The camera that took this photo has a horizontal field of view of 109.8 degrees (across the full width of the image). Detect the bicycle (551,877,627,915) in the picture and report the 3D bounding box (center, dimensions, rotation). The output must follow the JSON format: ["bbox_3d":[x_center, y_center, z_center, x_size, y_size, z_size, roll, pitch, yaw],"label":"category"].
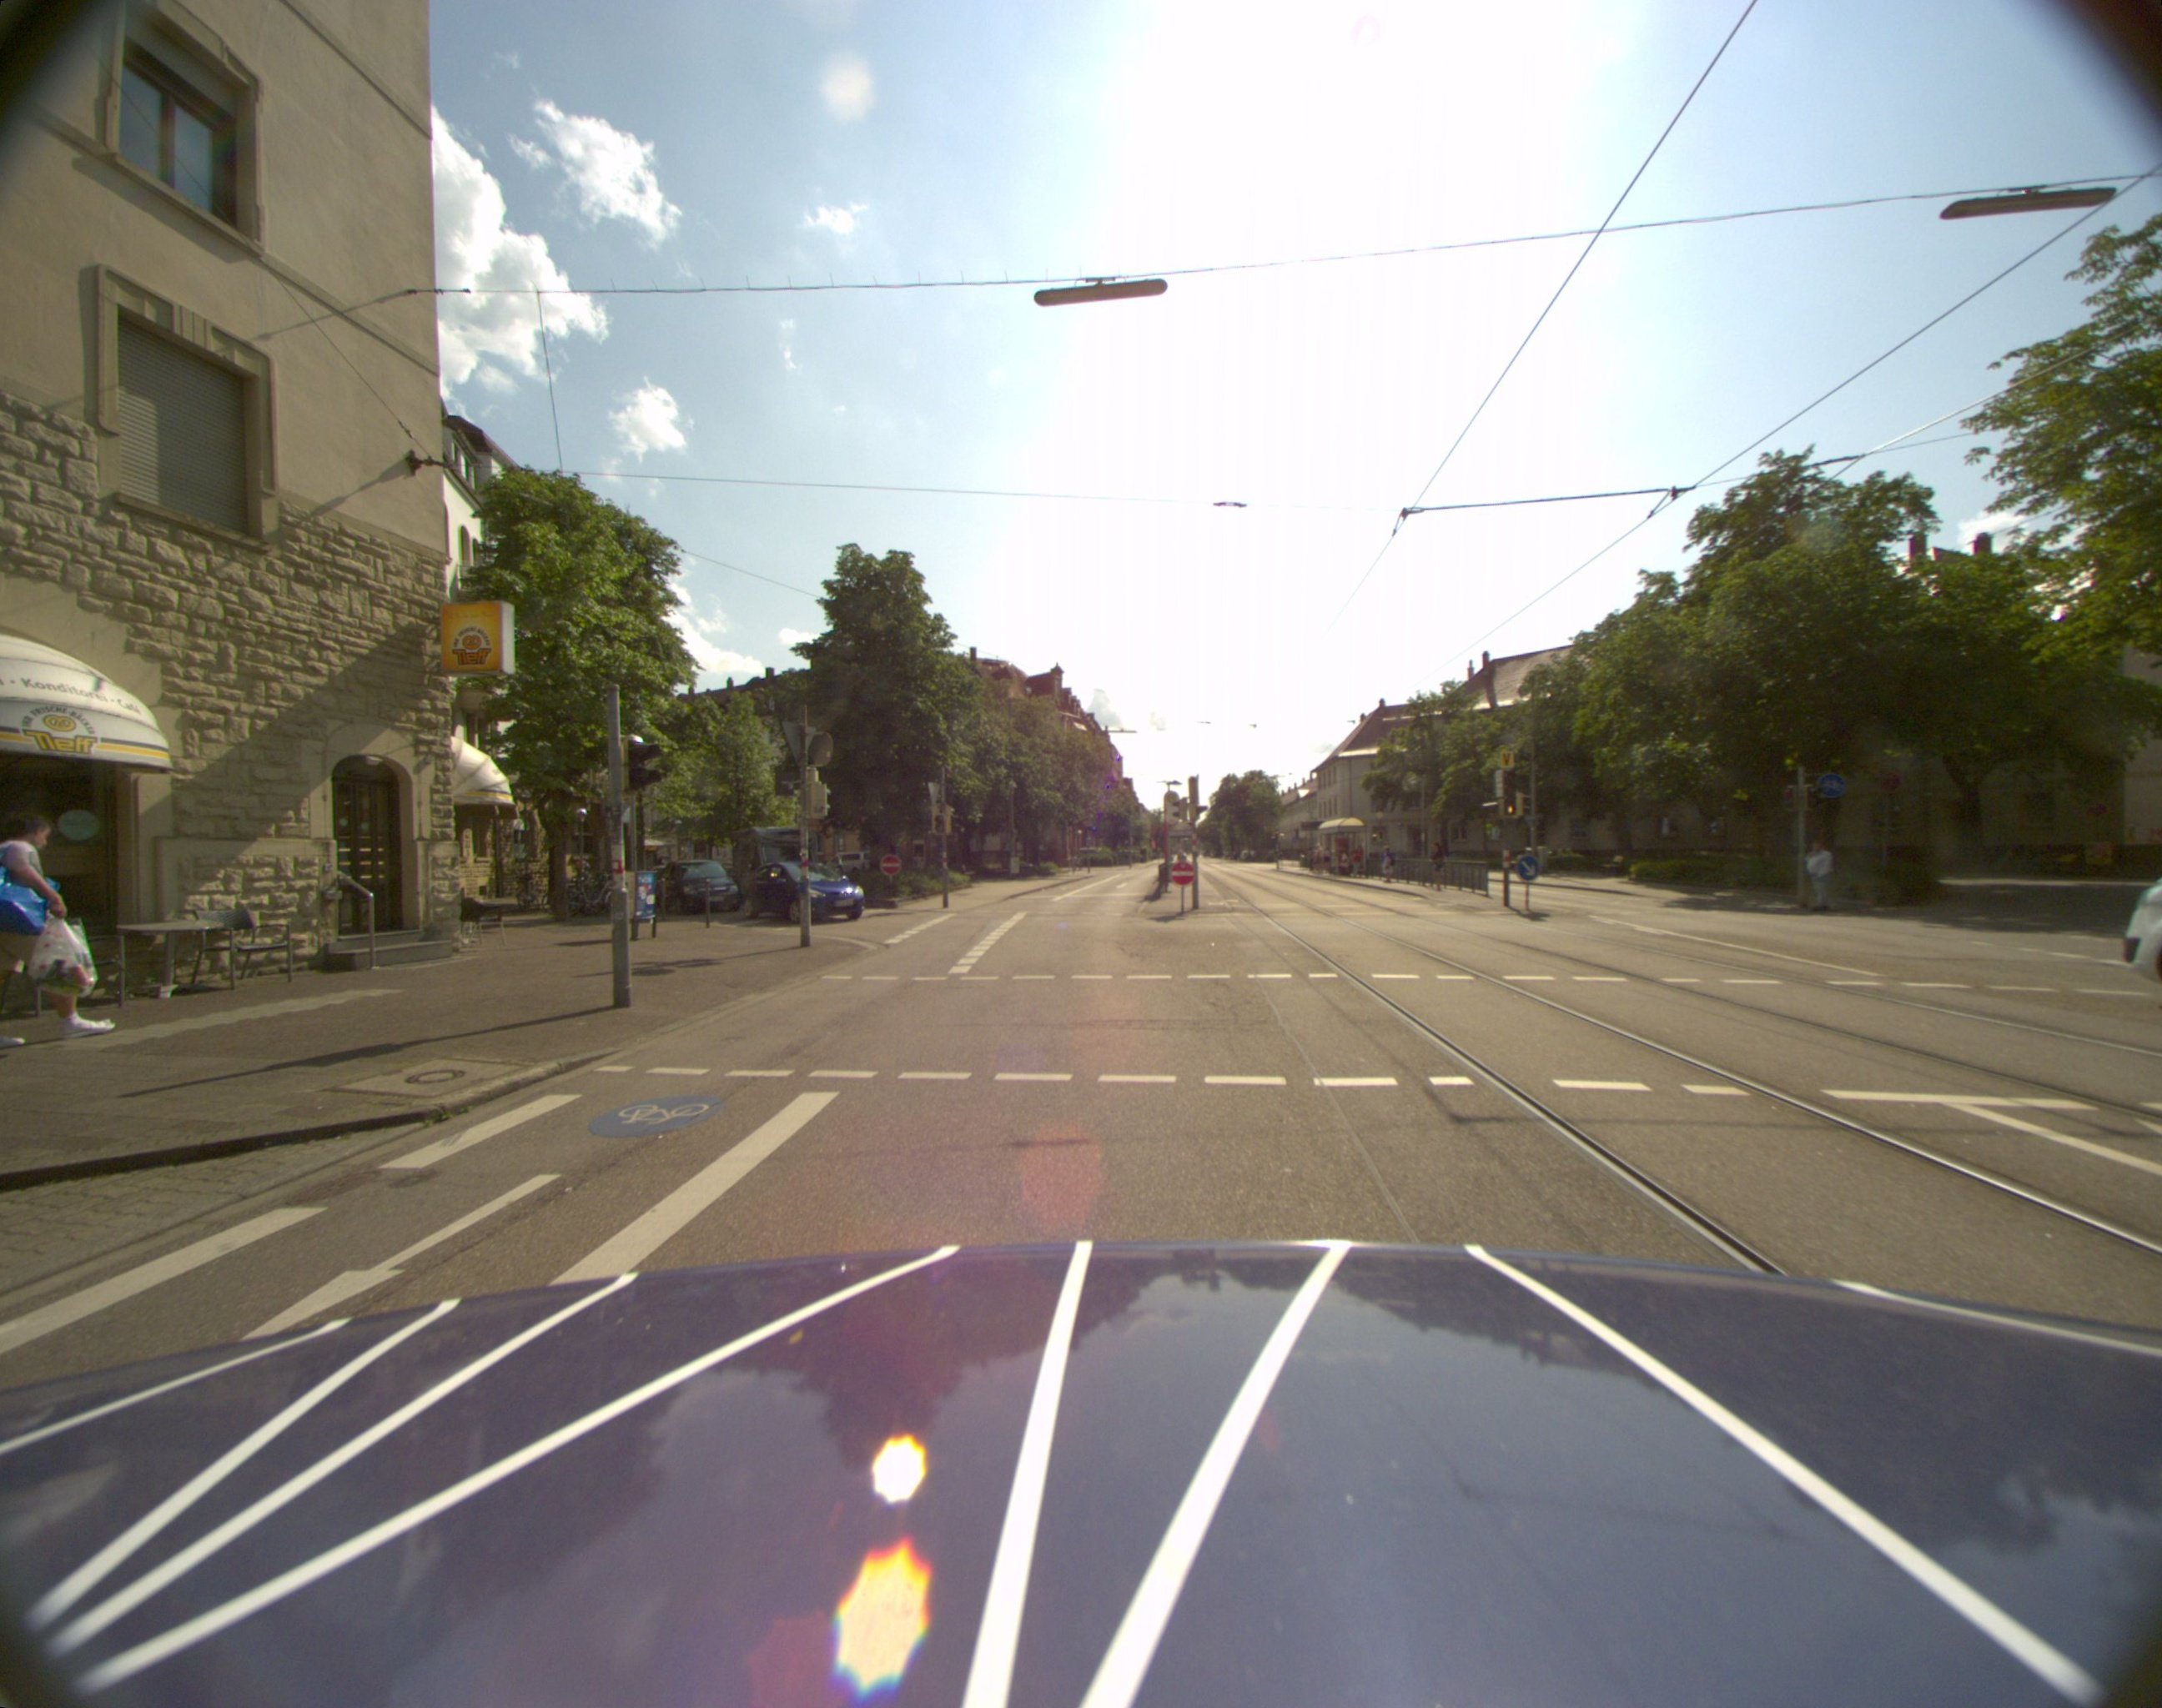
[{"bbox_3d":[-15.893,1.339,24.592,0.586,1.109,1.977,-2,-1,41],"label":"bicycle"}]

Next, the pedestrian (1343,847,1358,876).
[{"bbox_3d":[13.687,0.383,38.637,0.530,1.449,0.692,1,2,6],"label":"pedestrian"}]

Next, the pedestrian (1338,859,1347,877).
[{"bbox_3d":[14.159,0.752,41.196,0.340,0.925,0.346,1,2,1],"label":"pedestrian"}]

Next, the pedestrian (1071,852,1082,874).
[{"bbox_3d":[-0.367,0.695,58.024,0.706,1.644,0.534,-3,1,7],"label":"pedestrian"}]

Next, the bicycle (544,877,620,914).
[{"bbox_3d":[-16.372,1.347,24.951,0.586,1.109,1.977,-2,-1,41],"label":"bicycle"}]

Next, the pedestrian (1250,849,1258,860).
[{"bbox_3d":[22.256,0.042,97.614,0.805,1.465,0.807,-1,1,3],"label":"pedestrian"}]

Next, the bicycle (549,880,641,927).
[{"bbox_3d":[-12.932,1.305,20.269,0.586,1.133,1.977,-2,-1,41],"label":"bicycle"}]

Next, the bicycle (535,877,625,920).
[{"bbox_3d":[-13.972,1.221,21.237,0.586,1.109,1.977,-2,-1,41],"label":"bicycle"}]

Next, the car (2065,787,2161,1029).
[{"bbox_3d":[9.588,0.469,4.243,1.997,1.983,5.092,1,1,8],"label":"car"}]

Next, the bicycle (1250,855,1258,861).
[{"bbox_3d":[22.783,0.518,100.331,0.755,0.844,1.619,-1,0,3],"label":"bicycle"}]

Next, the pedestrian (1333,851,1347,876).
[{"bbox_3d":[14.021,0.521,41.099,0.604,1.329,0.406,1,2,1],"label":"pedestrian"}]

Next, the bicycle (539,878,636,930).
[{"bbox_3d":[-12.636,1.262,19.501,0.586,1.202,1.977,-2,-1,41],"label":"bicycle"}]

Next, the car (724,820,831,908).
[{"bbox_3d":[-11.110,0.371,27.435,2.396,2.777,6.659,-1,-1,-32],"label":"car"}]

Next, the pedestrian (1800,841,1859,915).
[{"bbox_3d":[17.619,0.554,17.894,0.466,1.688,0.848,-3,1,-5],"label":"pedestrian"}]

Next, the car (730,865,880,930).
[{"bbox_3d":[-7.009,1.014,19.112,3.988,1.410,1.896,-1,1,42],"label":"car"}]

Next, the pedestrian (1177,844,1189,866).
[{"bbox_3d":[7.250,0.094,54.002,0.701,1.524,0.557,-3,1,7],"label":"pedestrian"}]

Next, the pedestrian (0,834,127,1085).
[{"bbox_3d":[-8.082,0.737,5.617,1.012,1.758,0.850,2,0,8],"label":"pedestrian"}]

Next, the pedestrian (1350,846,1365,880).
[{"bbox_3d":[13.540,0.430,37.234,0.473,1.647,0.746,2,2,7],"label":"pedestrian"}]

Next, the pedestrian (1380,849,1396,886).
[{"bbox_3d":[12.748,0.540,31.542,0.428,1.496,0.704,1,2,7],"label":"pedestrian"}]

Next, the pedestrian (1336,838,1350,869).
[{"bbox_3d":[14.151,-0.022,41.018,0.498,1.660,0.678,1,2,1],"label":"pedestrian"}]

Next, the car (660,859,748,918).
[{"bbox_3d":[-11.685,1.008,23.417,1.731,1.546,4.103,-5,2,-35],"label":"car"}]

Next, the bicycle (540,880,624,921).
[{"bbox_3d":[-14.733,1.358,22.481,0.586,1.109,1.977,-2,-1,41],"label":"bicycle"}]

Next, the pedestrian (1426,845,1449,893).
[{"bbox_3d":[11.582,0.502,24.687,0.538,1.533,0.517,-1,-1,7],"label":"pedestrian"}]

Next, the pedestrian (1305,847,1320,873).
[{"bbox_3d":[14.285,0.378,46.905,0.657,1.598,0.638,1,2,1],"label":"pedestrian"}]

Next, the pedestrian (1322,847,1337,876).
[{"bbox_3d":[14.595,0.441,44.689,0.657,1.632,0.639,2,2,7],"label":"pedestrian"}]

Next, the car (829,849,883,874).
[{"bbox_3d":[-18.802,0.649,63.482,4.305,1.975,1.841,-1,2,30],"label":"car"}]

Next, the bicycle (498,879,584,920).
[{"bbox_3d":[-16.107,1.334,22.706,0.586,1.109,1.977,-2,-1,41],"label":"bicycle"}]
